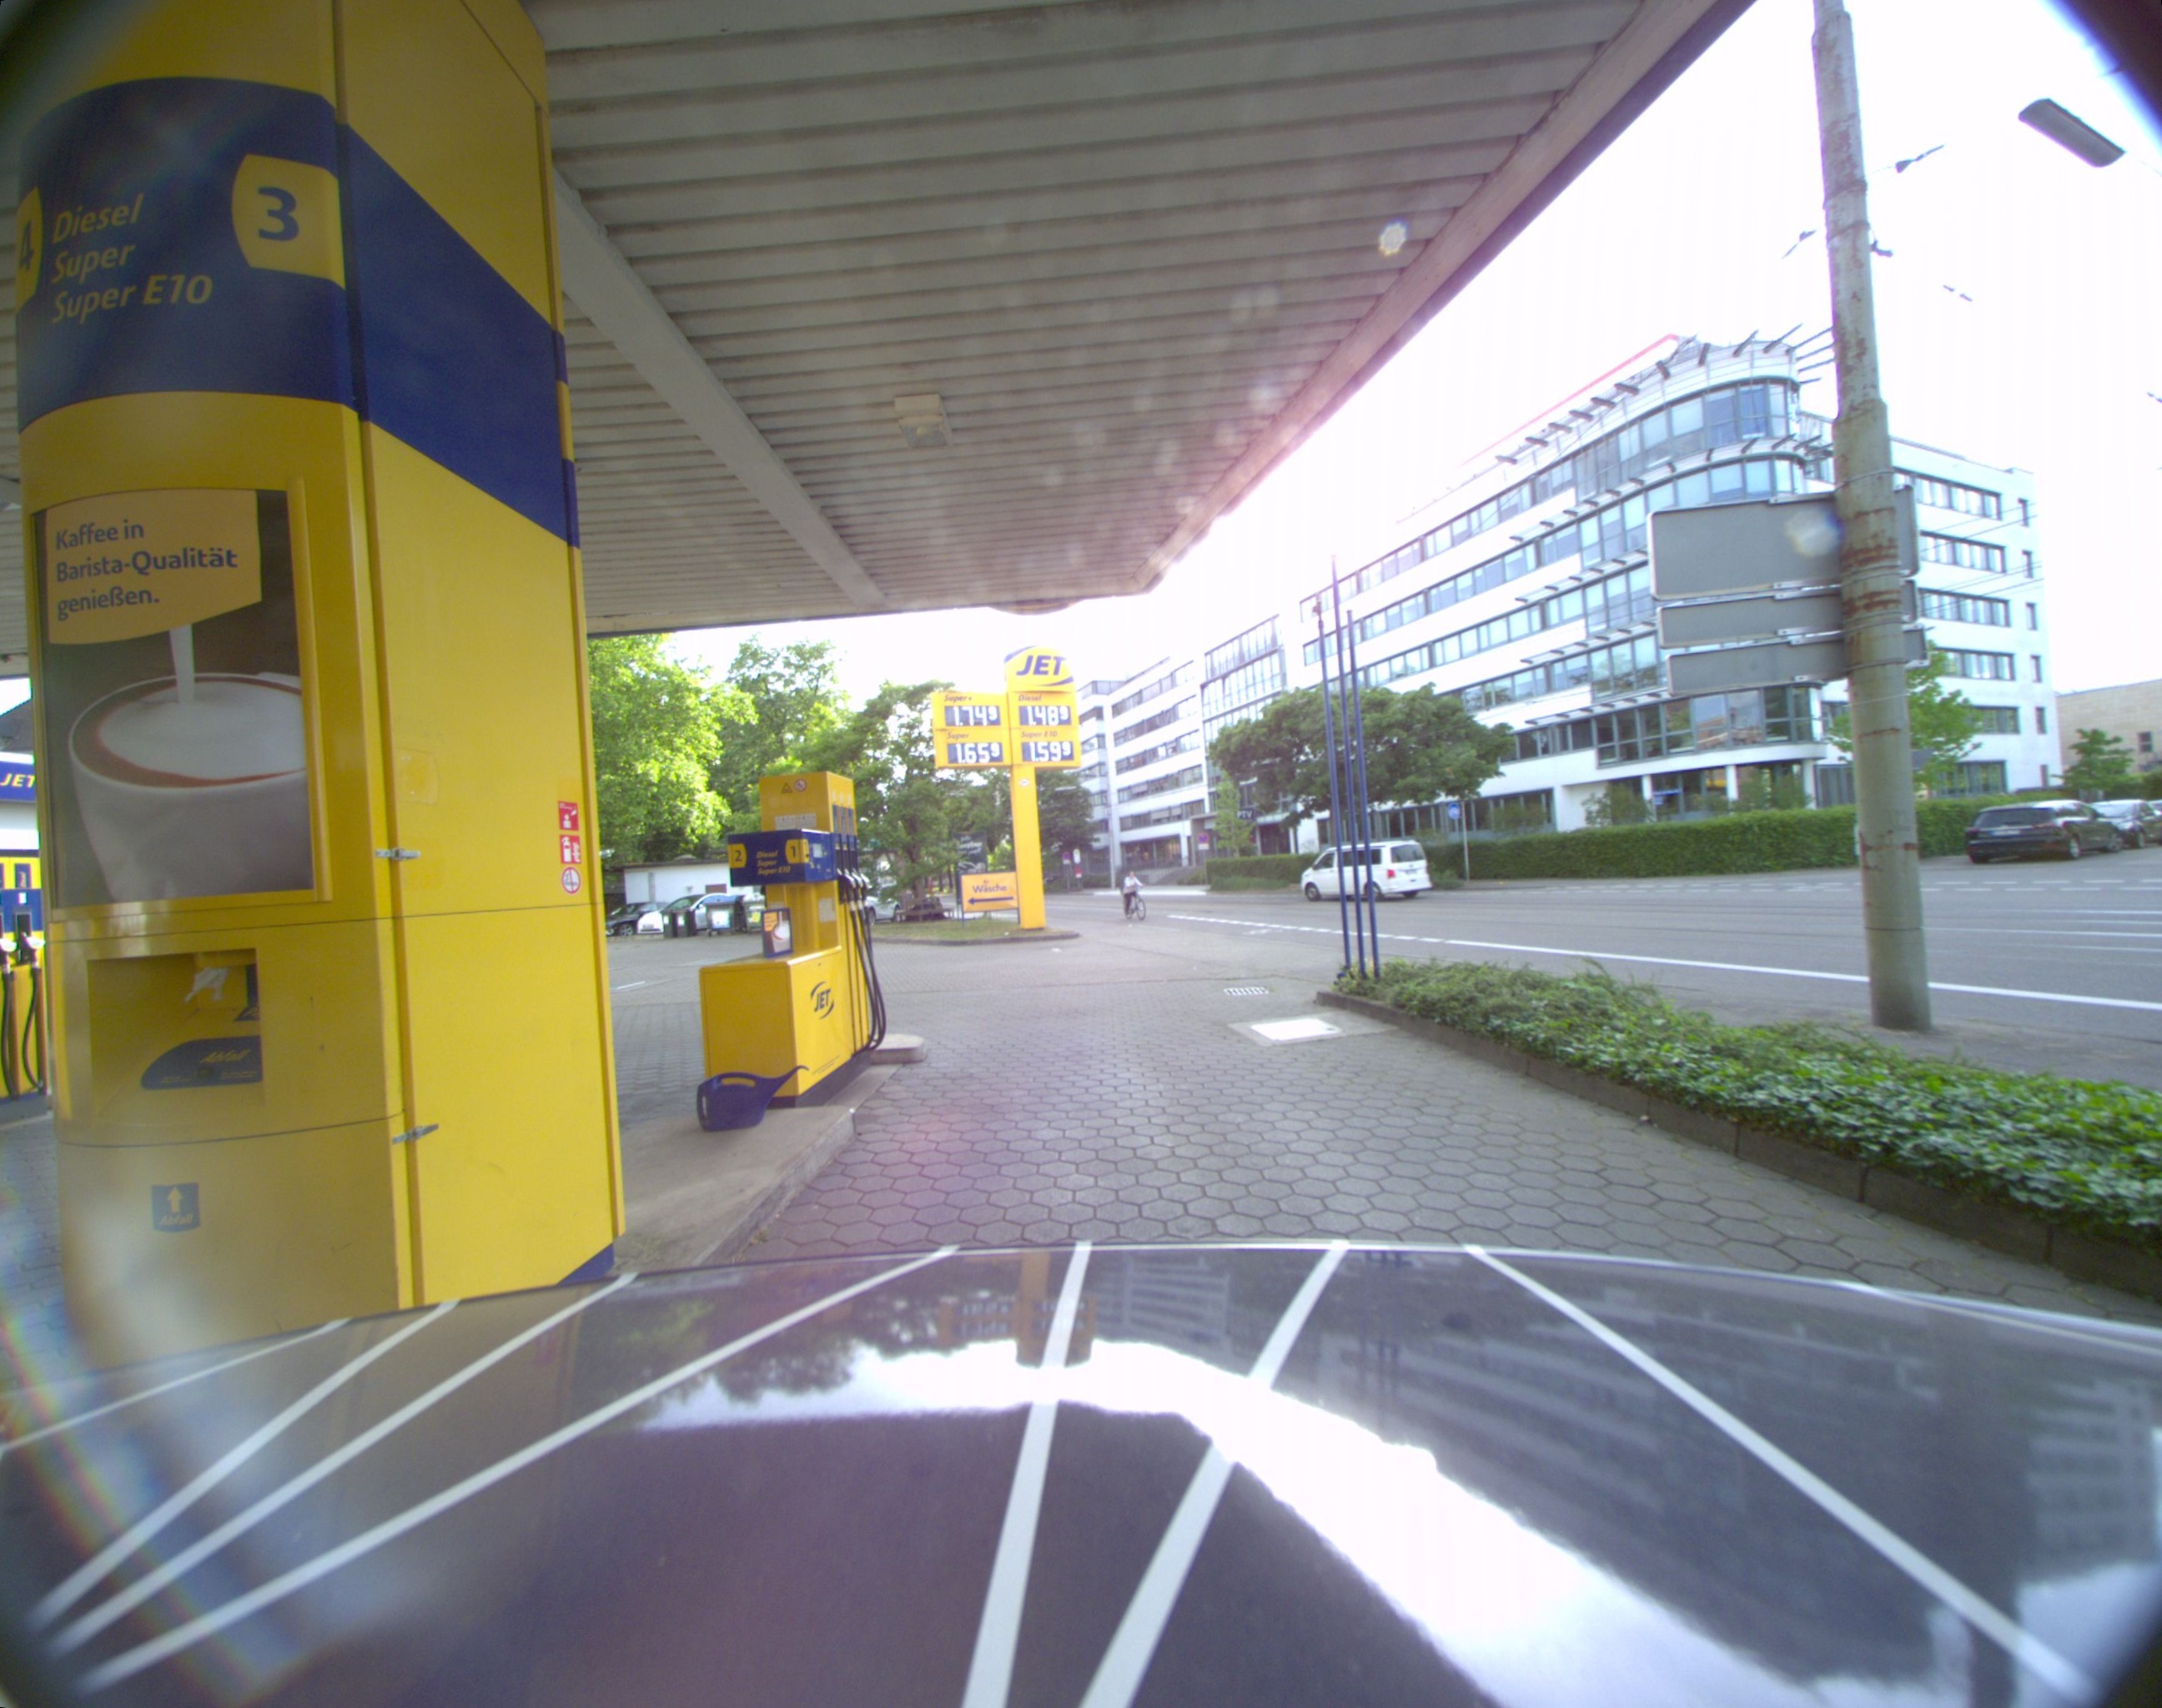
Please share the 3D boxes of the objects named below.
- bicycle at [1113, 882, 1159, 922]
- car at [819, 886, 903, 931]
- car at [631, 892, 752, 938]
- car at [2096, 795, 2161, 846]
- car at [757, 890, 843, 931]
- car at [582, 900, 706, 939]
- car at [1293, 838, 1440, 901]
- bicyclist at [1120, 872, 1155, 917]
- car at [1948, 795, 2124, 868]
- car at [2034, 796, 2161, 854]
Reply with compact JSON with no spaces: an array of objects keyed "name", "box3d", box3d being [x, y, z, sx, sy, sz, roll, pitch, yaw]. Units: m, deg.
[{"name":"bicycle","box3d":[1.860,1.616,26.039,0.736,1.250,1.936,-6,0,-21]},{"name":"car","box3d":[-8.689,2.123,30.392,1.739,1.500,4.003,-4,-2,6]},{"name":"car","box3d":[-15.363,2.390,30.267,1.785,1.514,4.229,-4,-3,17]},{"name":"car","box3d":[37.147,-1.231,26.086,4.109,1.544,1.786,-4,-1,-23]},{"name":"car","box3d":[-11.805,2.329,32.254,1.739,1.500,4.004,-4,-2,6]},{"name":"car","box3d":[-17.749,2.638,31.083,1.745,1.269,4.230,-5,-3,19]},{"name":"car","box3d":[10.073,0.603,27.264,2.002,1.956,4.881,-3,-1,-24]},{"name":"bicyclist","box3d":[1.908,1.373,25.881,0.736,1.451,0.915,-6,0,-21]},{"name":"car","box3d":[27.372,-0.644,21.778,4.438,1.603,1.976,-5,-1,-23]},{"name":"car","box3d":[32.487,-0.937,24.048,4.109,1.544,1.786,-4,-1,-23]}]
